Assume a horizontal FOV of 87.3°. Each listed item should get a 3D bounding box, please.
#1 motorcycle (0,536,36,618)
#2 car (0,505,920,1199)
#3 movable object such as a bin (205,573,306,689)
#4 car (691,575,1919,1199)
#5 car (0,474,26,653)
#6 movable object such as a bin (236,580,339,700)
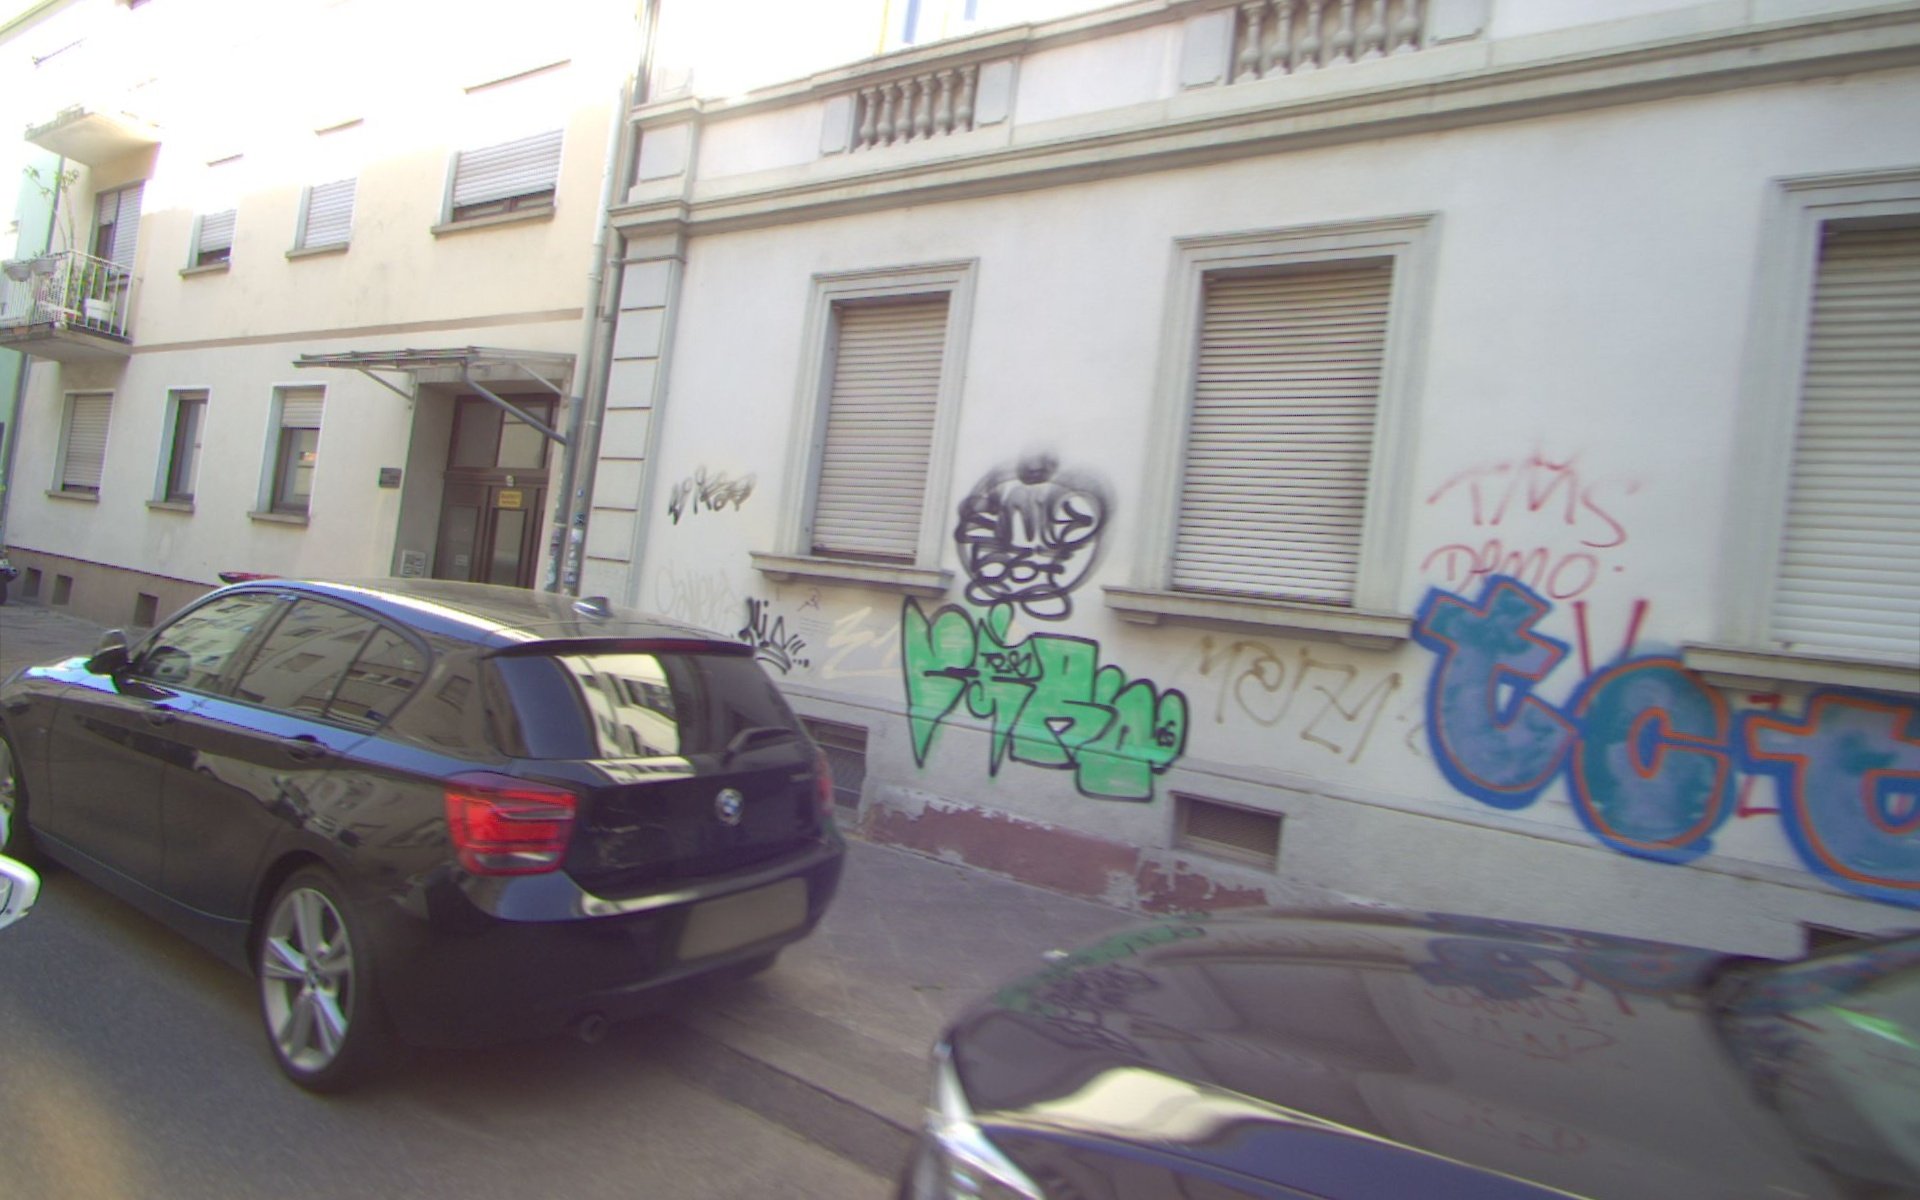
[{"bbox_3d":[-13.629,-0.378,14.083,1.663,1.058,0.481,6,-2,31],"label":"motorcycle"},{"bbox_3d":[-2.308,0.616,4.089,3.805,1.463,1.752,7,-4,32],"label":"car"},{"bbox_3d":[-7.114,0.315,10.162,0.544,1.083,0.578,6,-1,34],"label":"movable object such as a bin"},{"bbox_3d":[2.034,1.081,1.125,4.649,1.535,1.821,7,-4,32],"label":"car"},{"bbox_3d":[-11.127,-0.562,9.500,4.856,1.804,2.010,7,-2,32],"label":"car"},{"bbox_3d":[-6.573,0.396,9.837,0.544,1.083,0.578,6,-1,34],"label":"movable object such as a bin"}]
